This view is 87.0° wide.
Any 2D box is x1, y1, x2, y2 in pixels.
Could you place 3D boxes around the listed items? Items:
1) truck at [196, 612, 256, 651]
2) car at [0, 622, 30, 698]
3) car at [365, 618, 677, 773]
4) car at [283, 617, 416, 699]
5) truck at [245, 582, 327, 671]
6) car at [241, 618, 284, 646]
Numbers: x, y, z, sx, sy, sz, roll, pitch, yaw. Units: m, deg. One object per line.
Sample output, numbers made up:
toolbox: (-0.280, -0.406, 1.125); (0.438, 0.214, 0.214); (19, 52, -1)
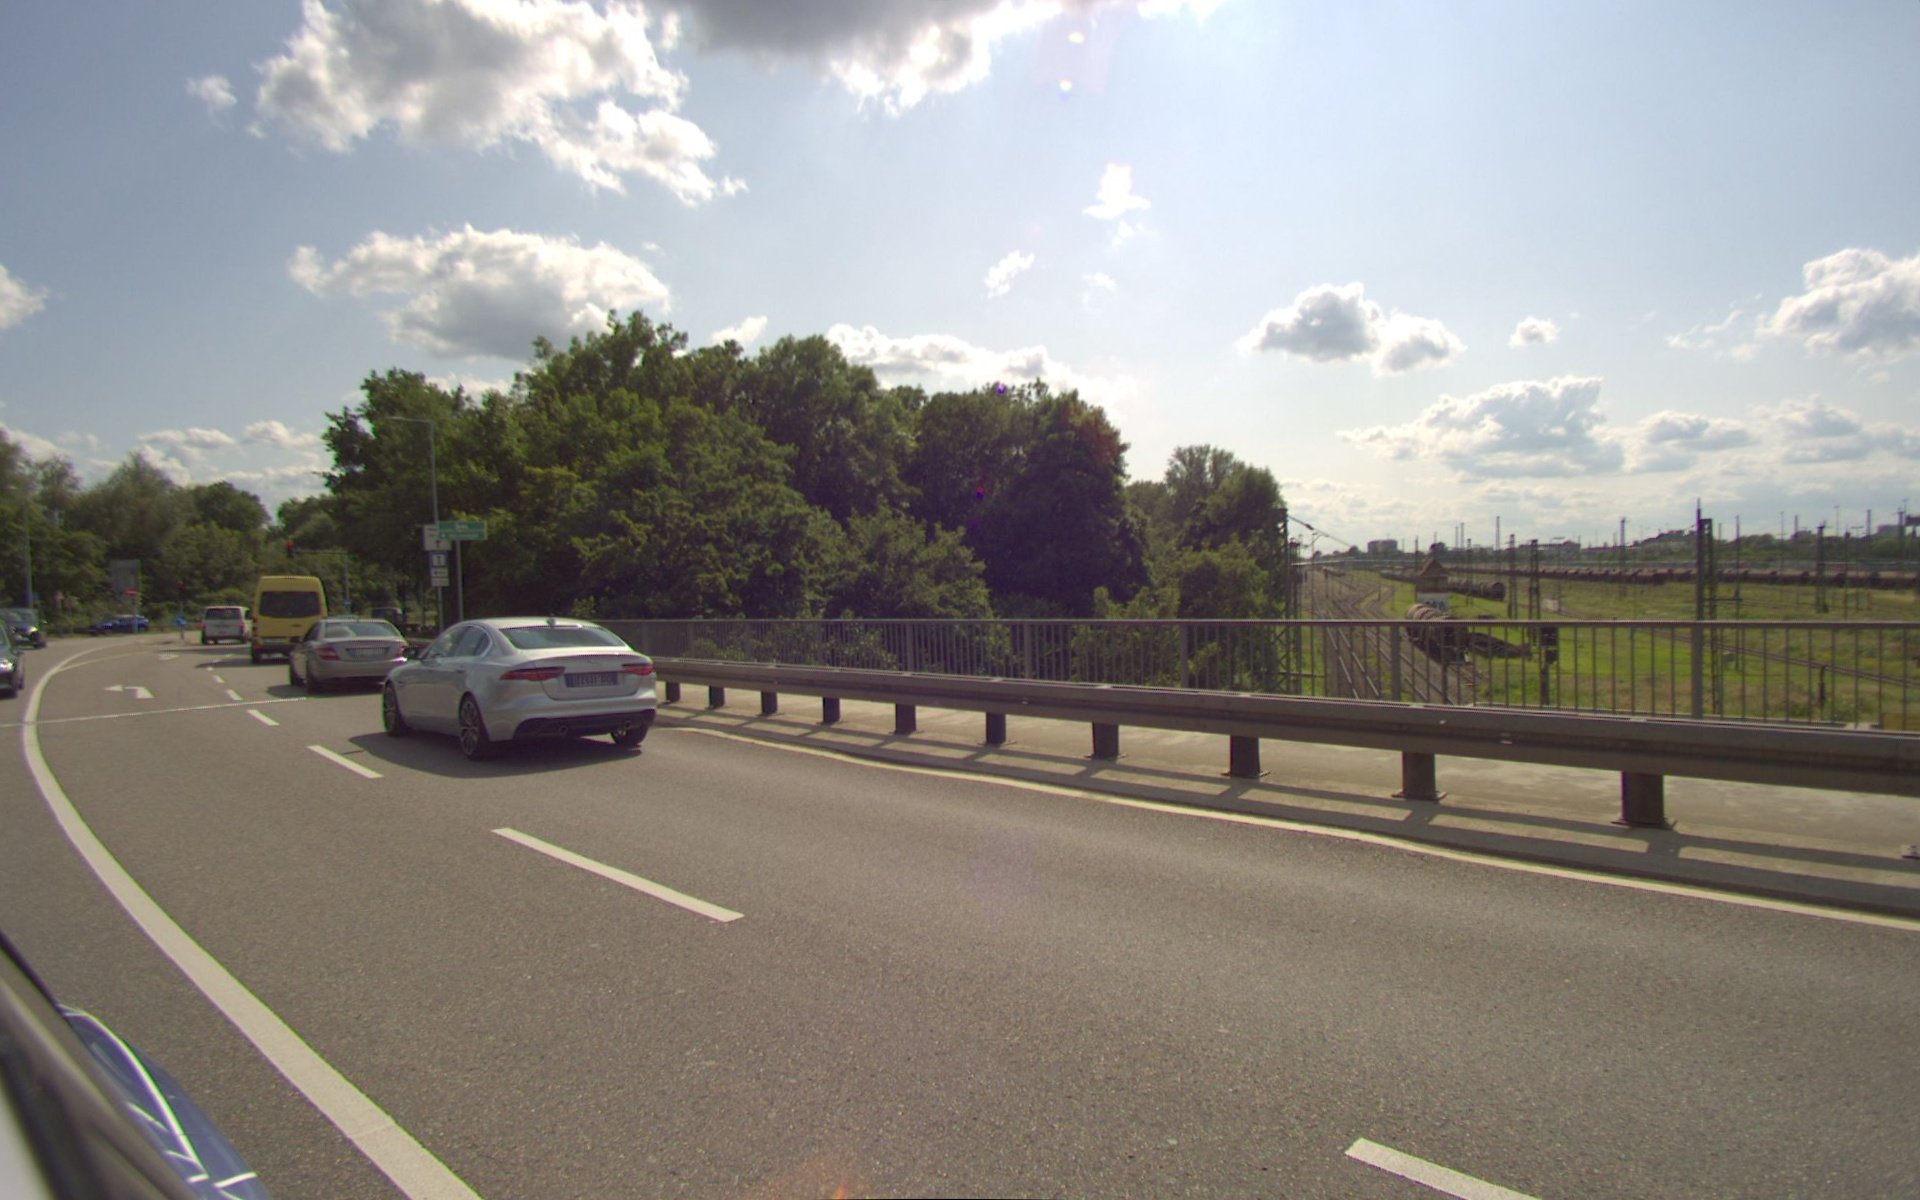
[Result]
truck: (-38.257, 1.605, 52.850); (1.933, 1.927, 5.386); (-1, -1, -30)
car: (-19.914, 1.157, 20.112); (1.830, 1.373, 4.008); (0, 0, -39)
car: (-5.172, 0.919, 11.560); (1.773, 1.385, 4.583); (0, 0, -44)
car: (-12.534, 1.095, 20.656); (1.725, 1.460, 4.345); (0, -1, -39)
truck: (-22.070, 0.857, 33.008); (1.967, 2.641, 6.118); (1, -2, -36)
car: (-40.856, 1.846, 59.335); (1.674, 1.569, 3.834); (-1, -1, -29)
